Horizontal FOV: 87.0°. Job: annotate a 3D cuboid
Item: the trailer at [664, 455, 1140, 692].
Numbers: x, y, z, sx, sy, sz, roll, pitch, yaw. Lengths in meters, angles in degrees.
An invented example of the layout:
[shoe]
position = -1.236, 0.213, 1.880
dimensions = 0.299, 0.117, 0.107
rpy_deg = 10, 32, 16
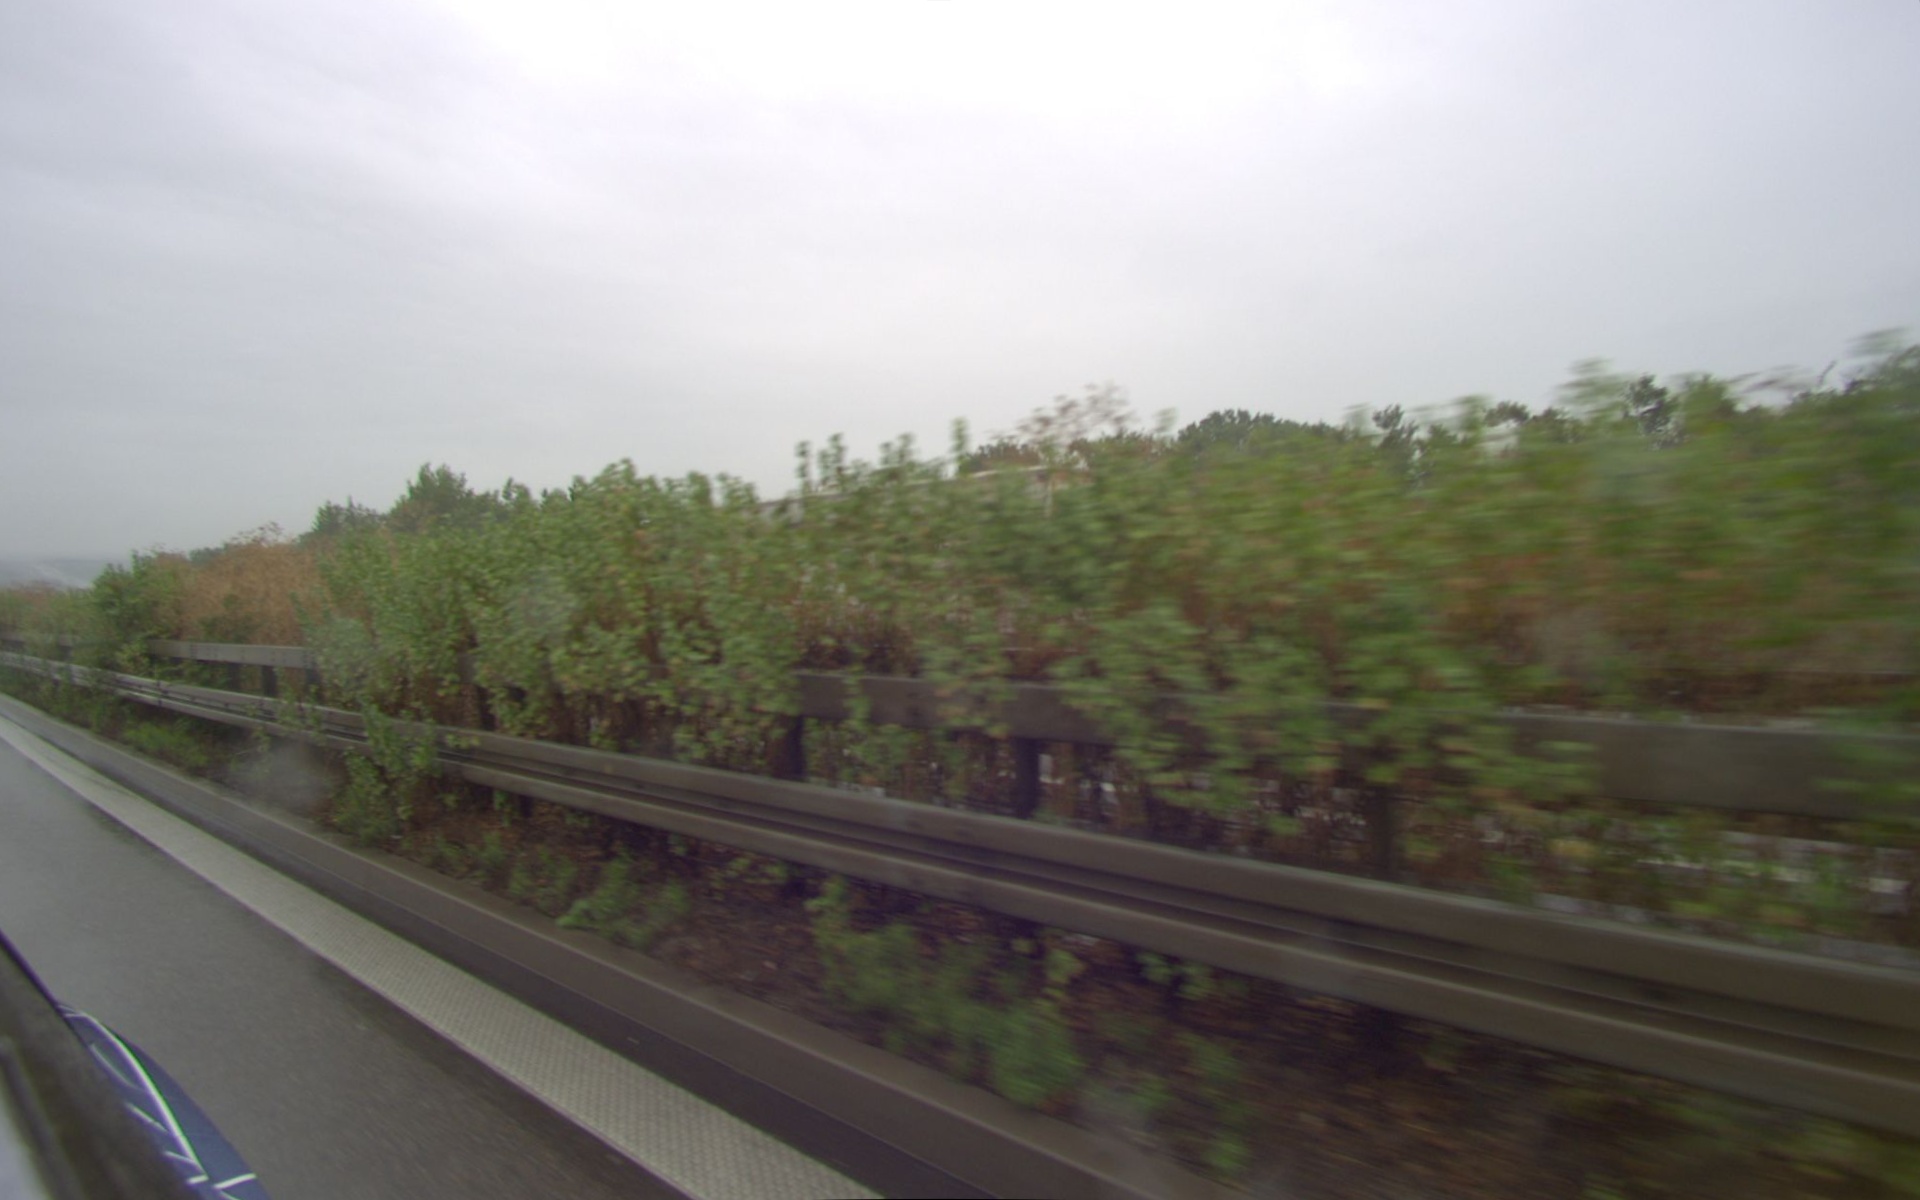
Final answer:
[trailer]
position = -2.130, -0.386, 23.381
dimensions = 12.936, 4.253, 2.492
rpy_deg = -1, -1, 41

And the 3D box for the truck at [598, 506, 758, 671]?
[truck]
position = -7.966, -0.270, 28.488
dimensions = 4.075, 4.259, 2.501
rpy_deg = -1, -1, 41
